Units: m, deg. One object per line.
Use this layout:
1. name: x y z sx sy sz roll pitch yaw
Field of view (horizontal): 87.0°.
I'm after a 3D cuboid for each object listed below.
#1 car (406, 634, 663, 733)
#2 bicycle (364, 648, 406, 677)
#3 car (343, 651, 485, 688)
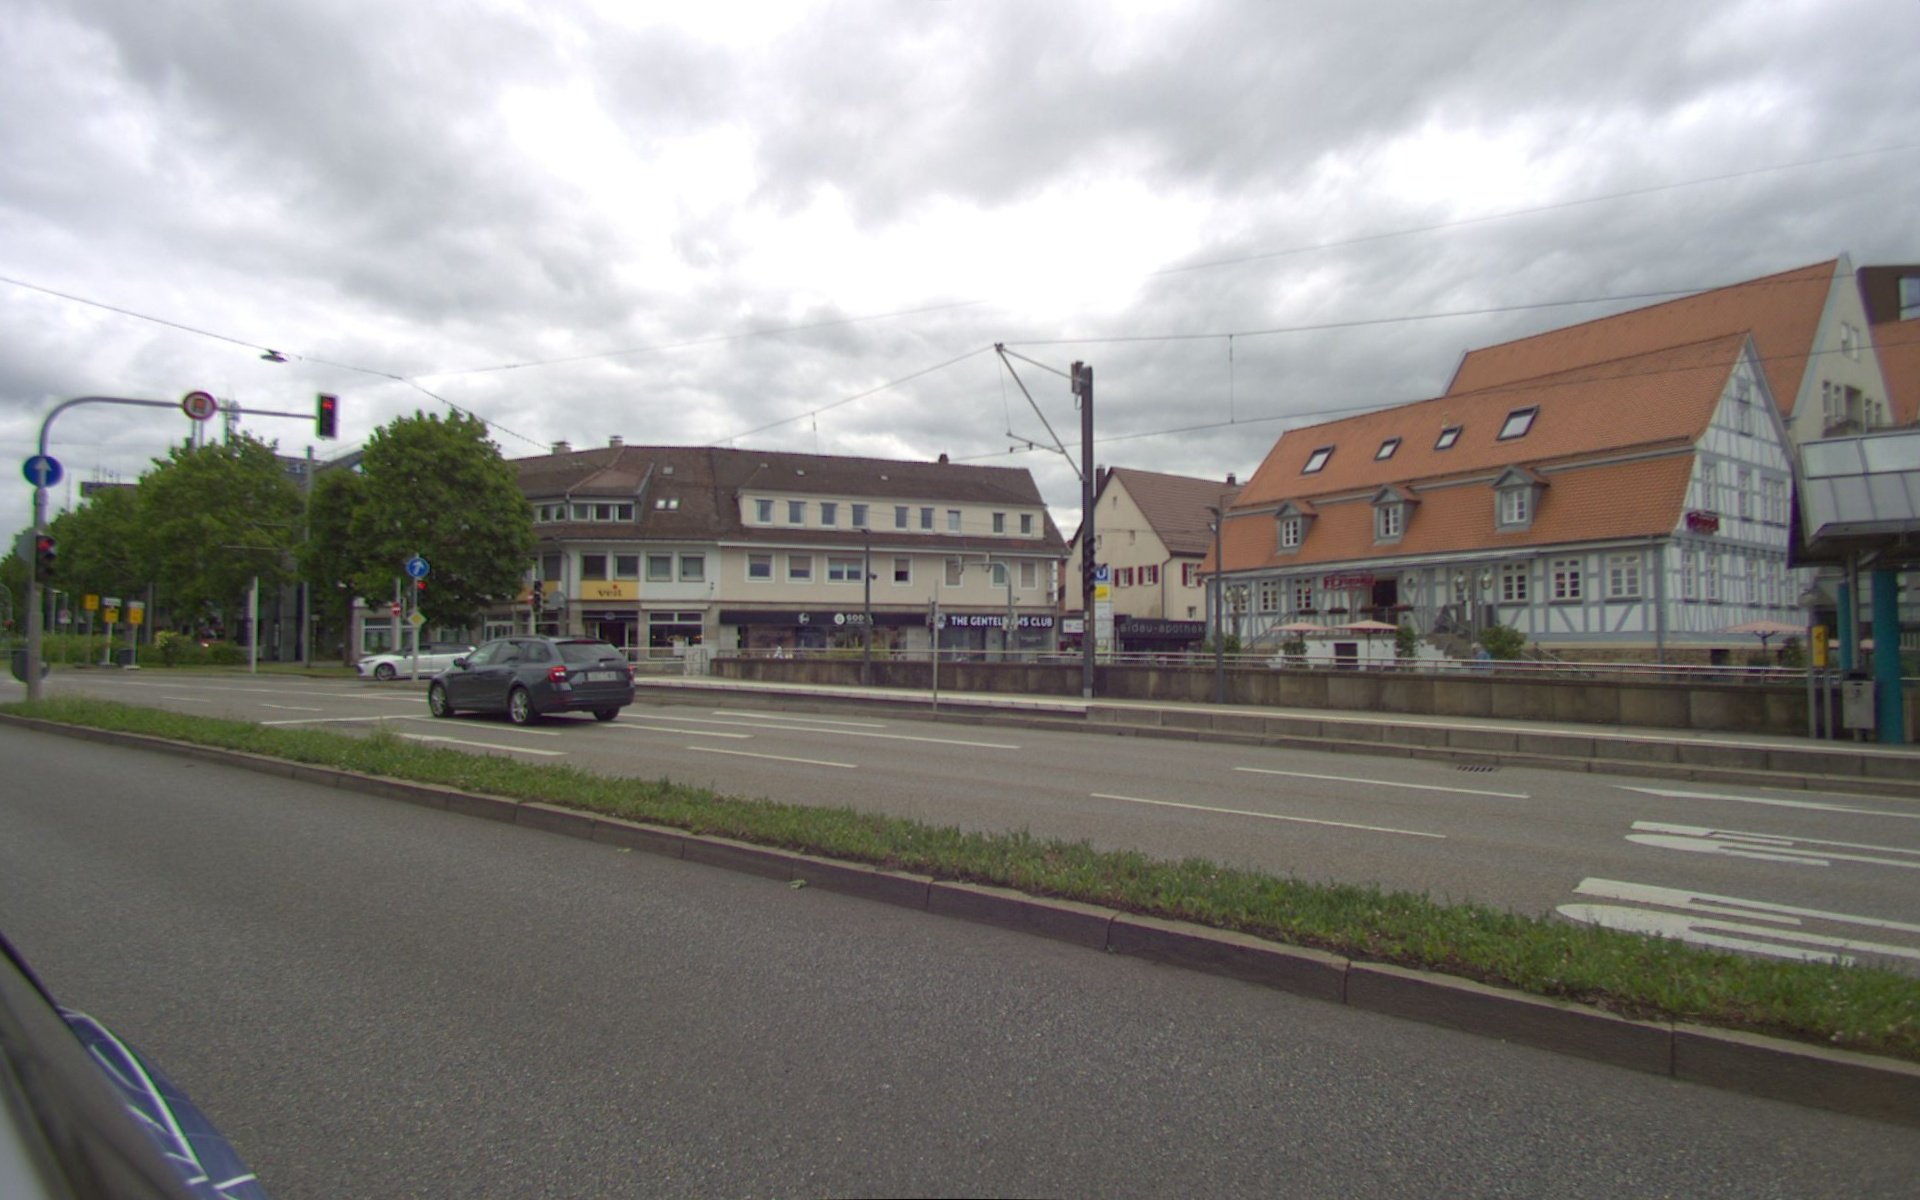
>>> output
1. car: -7.497 1.395 17.693 4.634 1.524 1.976 -2 -4 36
2. bicycle: -26.168 2.840 46.071 0.621 1.263 1.675 0 -3 15
3. car: -21.241 2.703 39.450 4.728 1.367 2.006 2 -4 -31
